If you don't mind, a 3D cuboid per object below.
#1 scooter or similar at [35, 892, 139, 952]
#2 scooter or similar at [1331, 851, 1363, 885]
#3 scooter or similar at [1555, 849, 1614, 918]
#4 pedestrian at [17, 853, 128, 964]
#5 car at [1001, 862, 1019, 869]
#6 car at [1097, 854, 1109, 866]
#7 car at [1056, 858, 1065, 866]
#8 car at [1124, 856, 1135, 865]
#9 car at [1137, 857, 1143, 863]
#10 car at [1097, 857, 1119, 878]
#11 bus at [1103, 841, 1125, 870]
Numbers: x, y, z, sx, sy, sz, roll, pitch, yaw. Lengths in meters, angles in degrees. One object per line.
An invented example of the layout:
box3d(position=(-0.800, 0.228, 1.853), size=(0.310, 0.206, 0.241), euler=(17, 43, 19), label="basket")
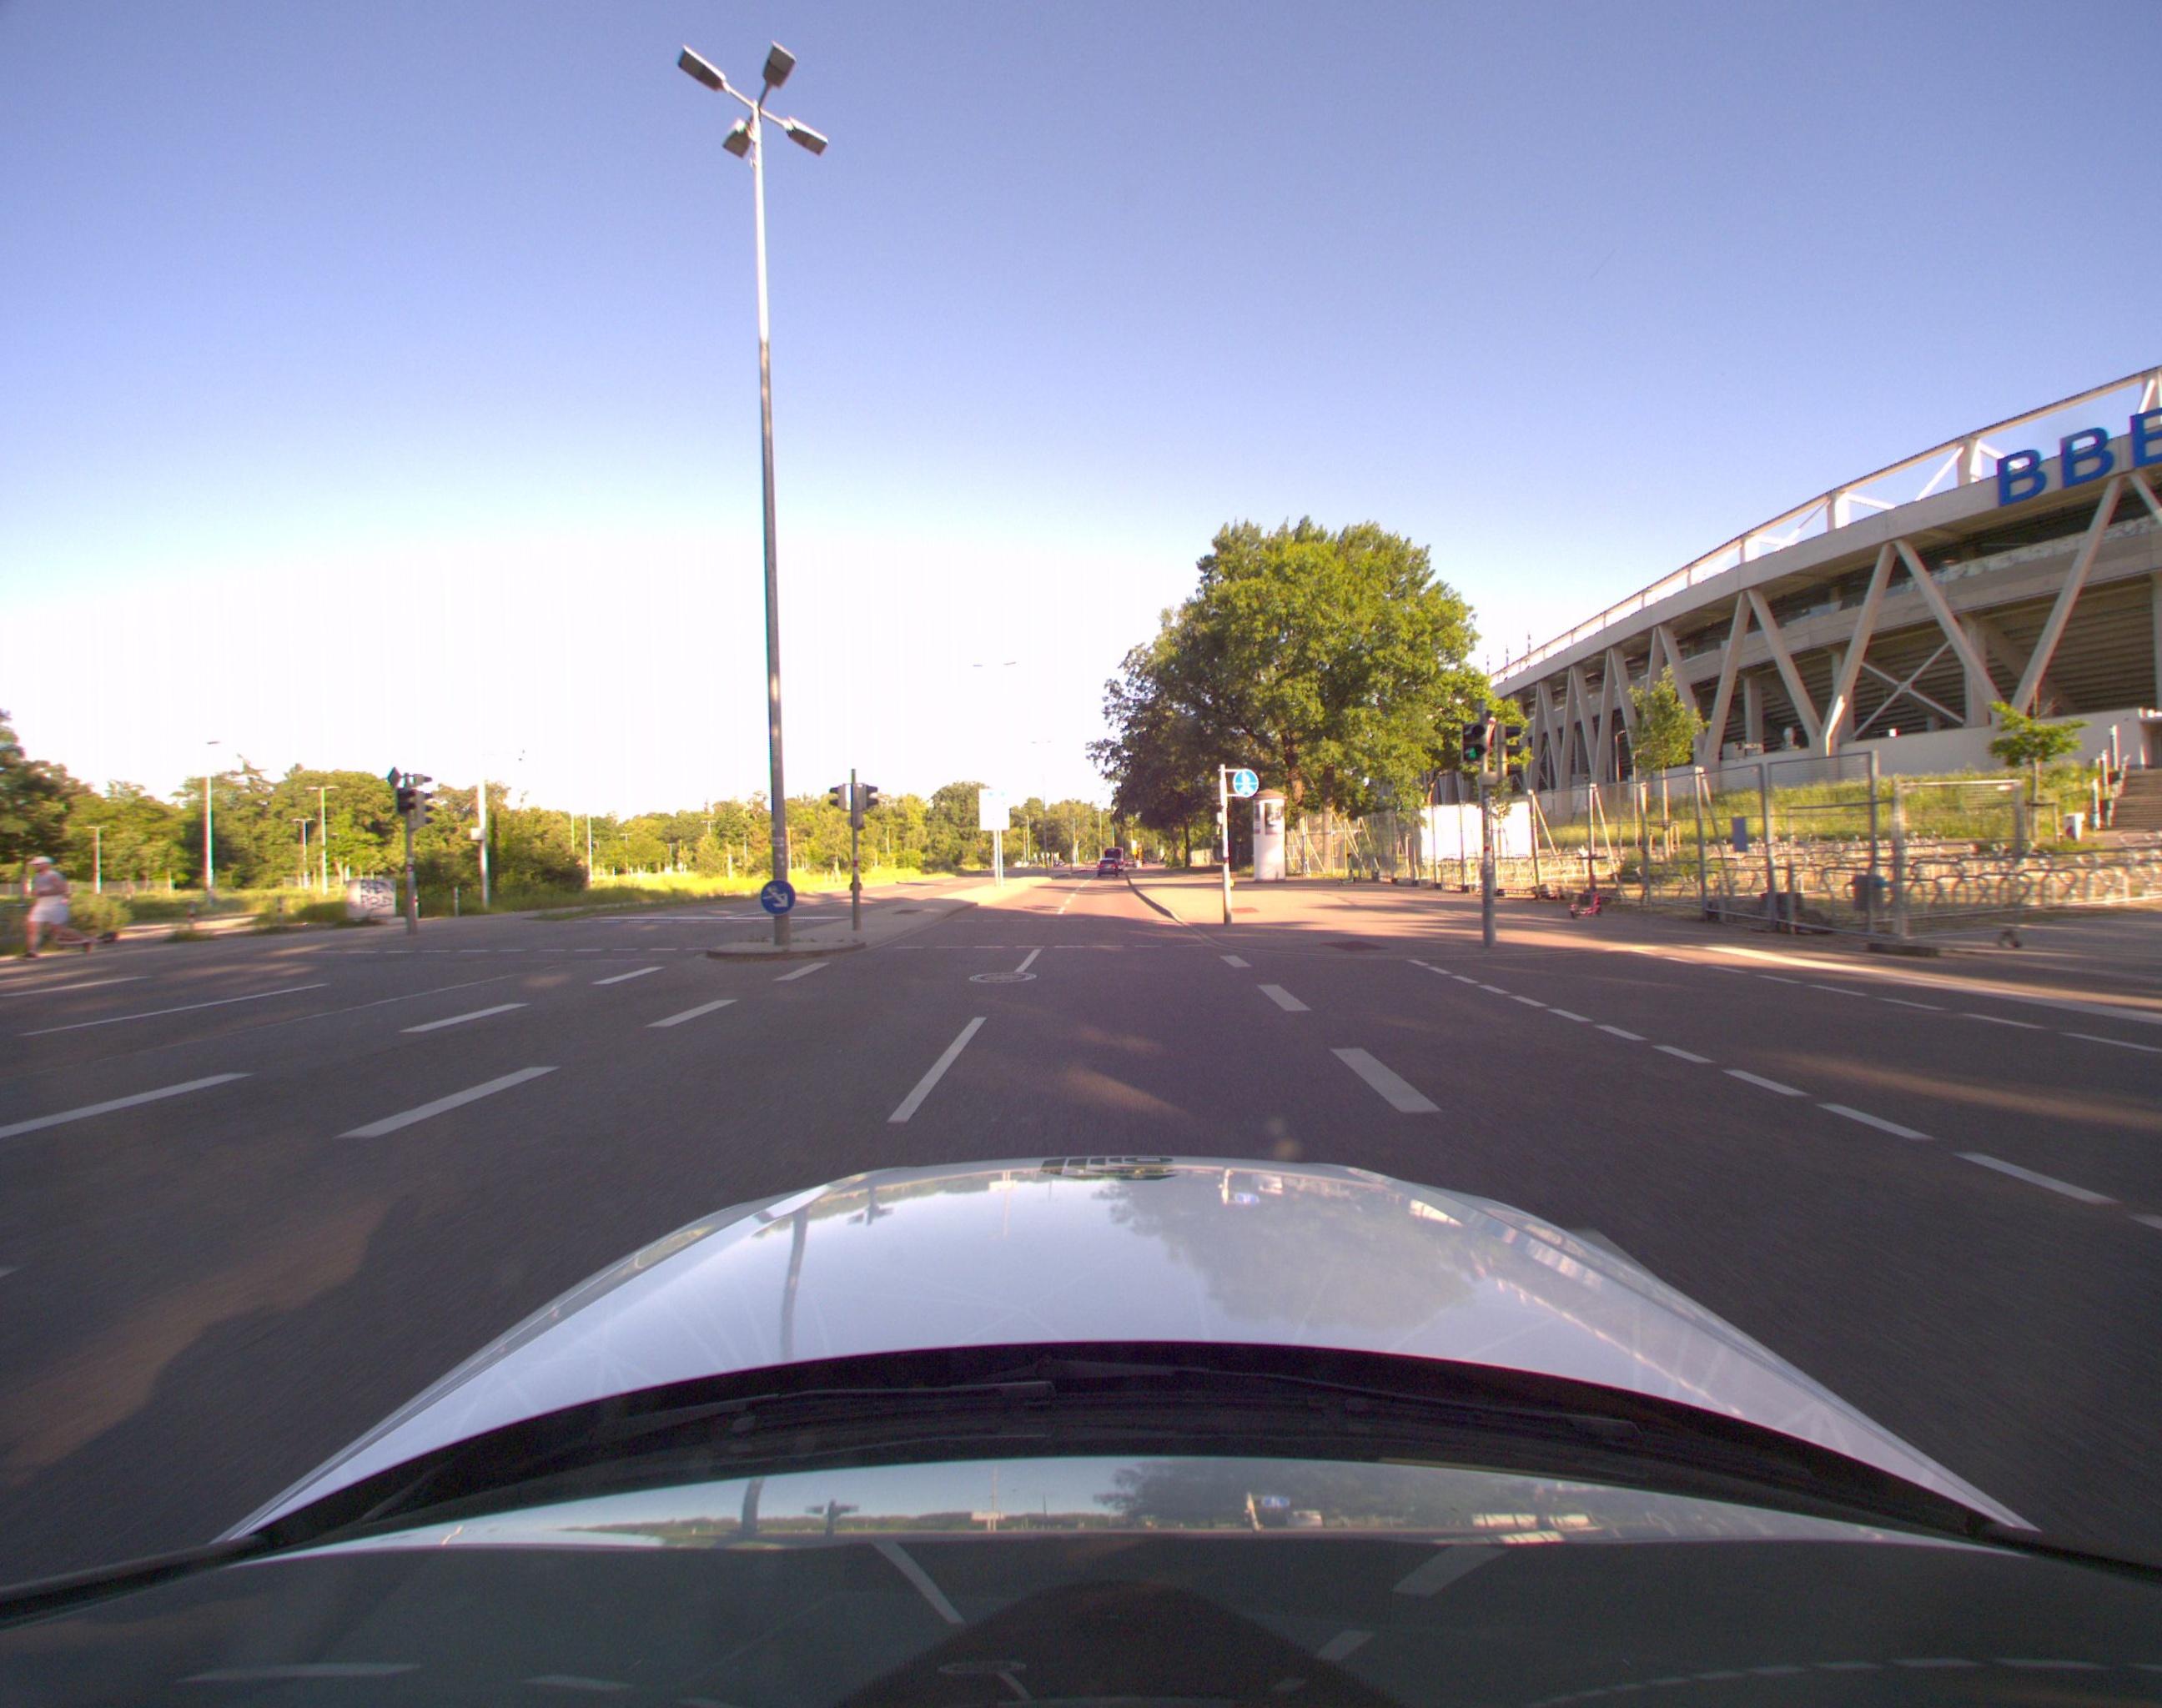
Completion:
box3d(position=(-22.084, 1.482, 18.128), size=(0.508, 1.224, 1.364), euler=(-2, -1, 15), label="scooter or similar")
box3d(position=(10.111, 0.528, 30.923), size=(0.562, 1.256, 1.610), euler=(-2, -1, 40), label="scooter or similar")
box3d(position=(9.851, 0.552, 15.918), size=(1.369, 1.288, 0.596), euler=(-1, 0, -41), label="scooter or similar")
box3d(position=(-18.285, 0.958, 14.791), size=(0.610, 1.909, 1.107), euler=(-2, -1, 1), label="pedestrian")
box3d(position=(-15.849, 2.553, 182.106), size=(3.689, 1.354, 1.721), euler=(-2, 0, -30), label="car")
box3d(position=(3.513, 0.918, 129.177), size=(1.873, 1.765, 4.001), euler=(-2, 0, 1), label="car")
box3d(position=(-4.519, 1.889, 182.273), size=(1.856, 1.684, 3.773), euler=(-3, 0, 1), label="car")
box3d(position=(9.595, 1.313, 160.542), size=(1.854, 1.684, 3.778), euler=(-3, 0, 5), label="car")
box3d(position=(15.481, 1.560, 213.286), size=(1.586, 1.605, 3.586), euler=(0, -1, 3), label="car")
box3d(position=(2.405, 1.212, 74.049), size=(1.873, 1.765, 4.001), euler=(-2, 0, 1), label="car")
box3d(position=(4.067, 0.167, 102.020), size=(2.596, 3.368, 7.977), euler=(-1, 0, 1), label="bus")
